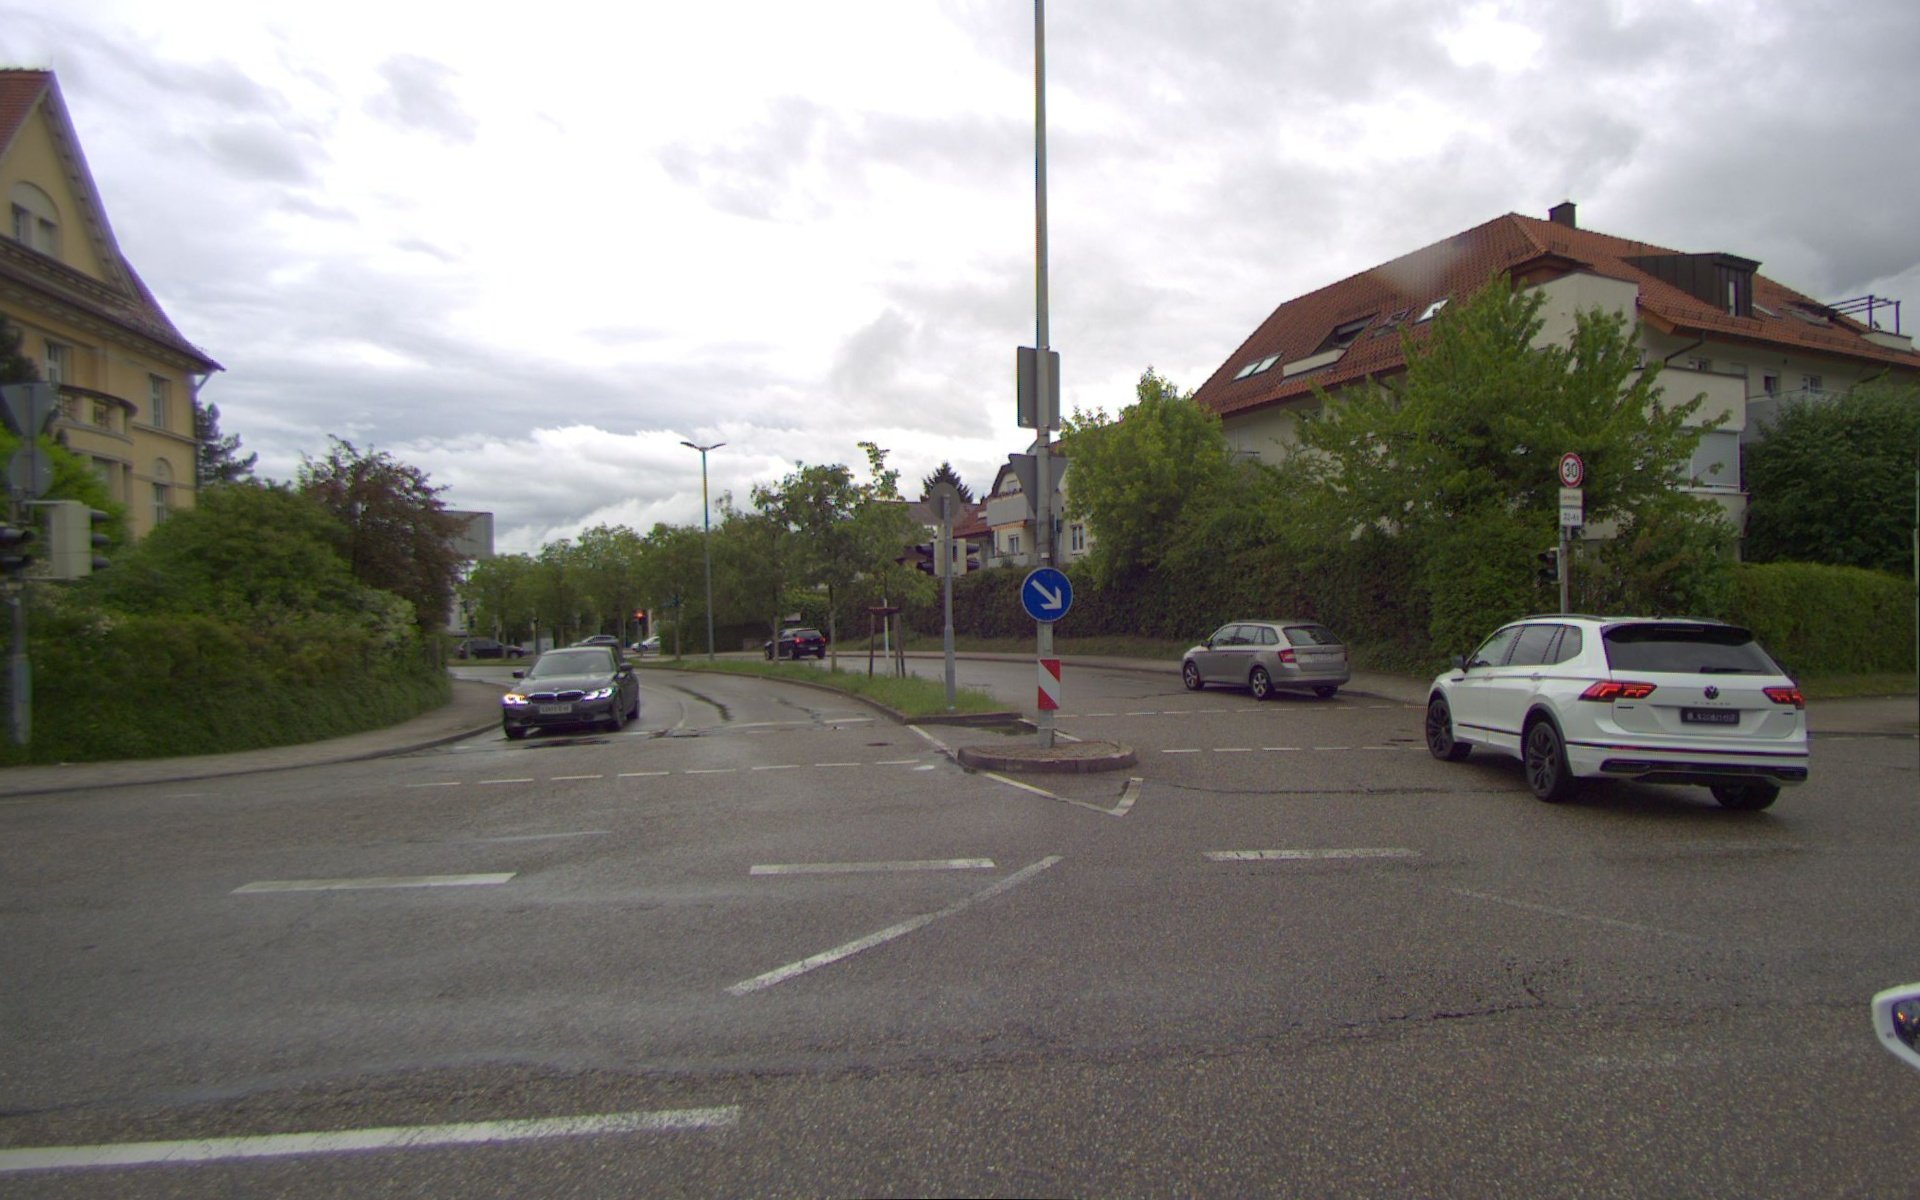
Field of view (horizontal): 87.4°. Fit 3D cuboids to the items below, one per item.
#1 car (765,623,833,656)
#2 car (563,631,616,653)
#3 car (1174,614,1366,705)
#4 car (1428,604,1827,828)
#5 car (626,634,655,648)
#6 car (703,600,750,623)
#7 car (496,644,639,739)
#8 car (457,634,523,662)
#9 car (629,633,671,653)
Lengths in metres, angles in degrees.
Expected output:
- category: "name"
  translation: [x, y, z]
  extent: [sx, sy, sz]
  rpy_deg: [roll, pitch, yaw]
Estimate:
- category: "car"
  translation: [-7.774, 1.894, 48.232]
  extent: [1.748, 1.498, 3.963]
  rpy_deg: [0, -3, -34]
- category: "car"
  translation: [-32.766, 3.694, 88.876]
  extent: [4.044, 1.547, 1.710]
  rpy_deg: [-4, 2, -39]
- category: "car"
  translation: [6.068, 1.101, 20.147]
  extent: [1.776, 1.610, 3.911]
  rpy_deg: [1, -1, -18]
- category: "car"
  translation: [6.227, 0.962, 10.047]
  extent: [1.732, 1.718, 4.276]
  rpy_deg: [1, -2, 10]
- category: "car"
  translation: [-43.038, 5.507, 135.228]
  extent: [3.628, 1.810, 1.741]
  rpy_deg: [1, -1, -23]
- category: "car"
  translation: [-19.167, 0.939, 82.515]
  extent: [3.368, 1.835, 1.638]
  rpy_deg: [1, 0, -38]
- category: "car"
  translation: [-6.864, 1.548, 17.992]
  extent: [1.746, 1.411, 4.425]
  rpy_deg: [-1, -3, -13]
- category: "car"
  translation: [-34.063, 3.438, 72.887]
  extent: [4.045, 1.921, 1.710]
  rpy_deg: [1, 0, -39]
- category: "car"
  translation: [-28.449, 3.936, 92.240]
  extent: [3.626, 1.810, 1.723]
  rpy_deg: [1, -1, -21]
